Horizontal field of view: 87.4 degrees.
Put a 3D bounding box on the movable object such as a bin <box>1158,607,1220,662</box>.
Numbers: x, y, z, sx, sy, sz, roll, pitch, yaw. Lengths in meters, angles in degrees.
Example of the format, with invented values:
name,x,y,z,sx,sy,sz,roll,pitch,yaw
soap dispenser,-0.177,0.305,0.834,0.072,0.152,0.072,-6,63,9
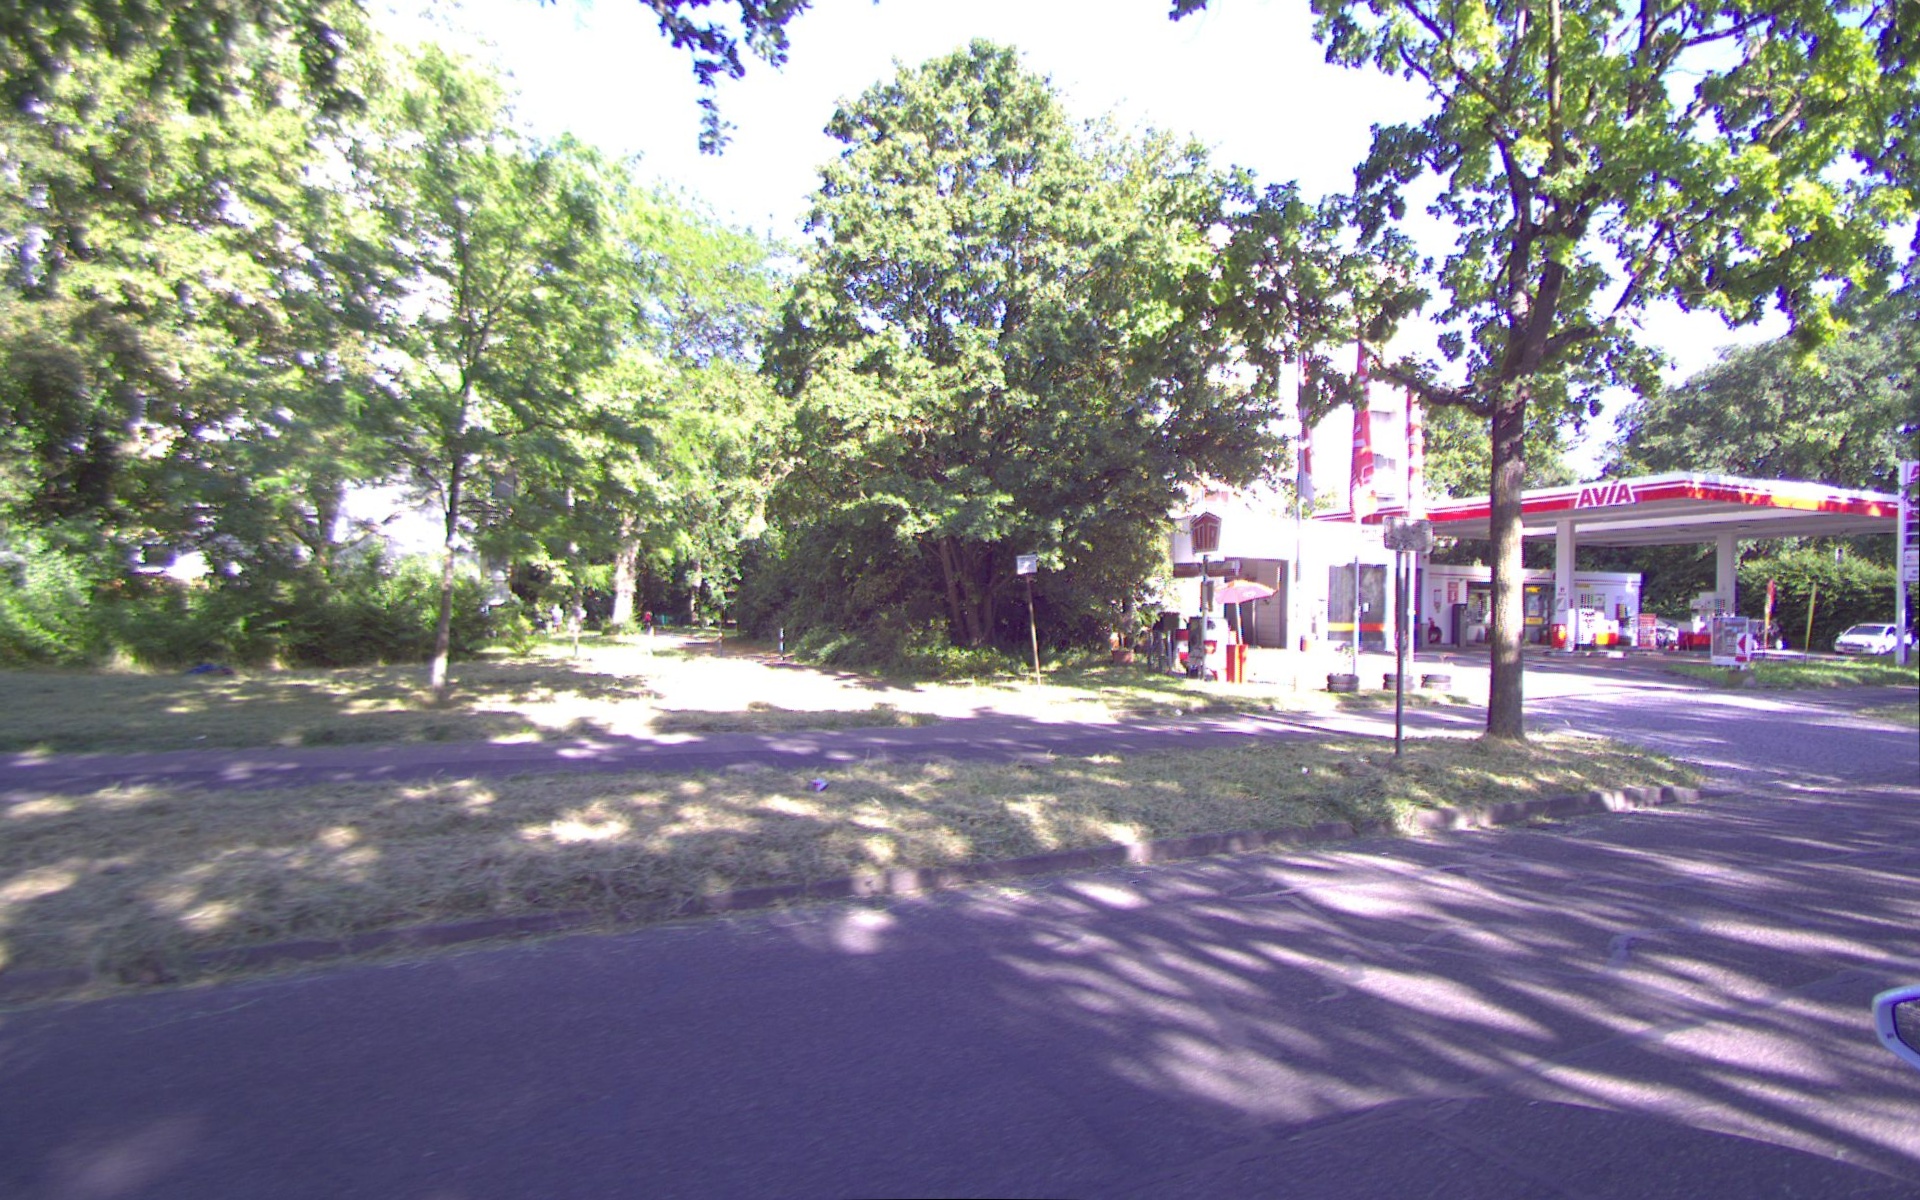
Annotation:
name,x,y,z,sx,sy,sz,roll,pitch,yaw
movable object such as a bin,6.736,0.998,29.603,1.251,1.562,1.299,1,-1,-27

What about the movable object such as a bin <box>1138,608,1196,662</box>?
name,x,y,z,sx,sy,sz,roll,pitch,yaw
movable object such as a bin,6.256,1.048,30.398,1.149,1.562,1.299,1,1,-27

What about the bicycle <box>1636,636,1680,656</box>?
name,x,y,z,sx,sy,sz,roll,pitch,yaw
bicycle,31.007,2.048,44.631,1.749,0.818,0.618,1,0,-14

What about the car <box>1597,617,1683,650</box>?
name,x,y,z,sx,sy,sz,roll,pitch,yaw
car,33.615,1.650,49.699,1.561,1.419,3.190,1,1,-20

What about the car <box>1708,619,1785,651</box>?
name,x,y,z,sx,sy,sz,roll,pitch,yaw
car,37.281,1.647,47.627,3.157,1.386,1.420,1,1,-20

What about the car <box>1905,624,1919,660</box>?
name,x,y,z,sx,sy,sz,roll,pitch,yaw
car,40.911,1.764,41.359,3.434,1.441,1.544,1,1,-20

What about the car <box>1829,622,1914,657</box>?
name,x,y,z,sx,sy,sz,roll,pitch,yaw
car,39.661,1.723,43.721,3.157,1.386,1.420,1,1,-20
